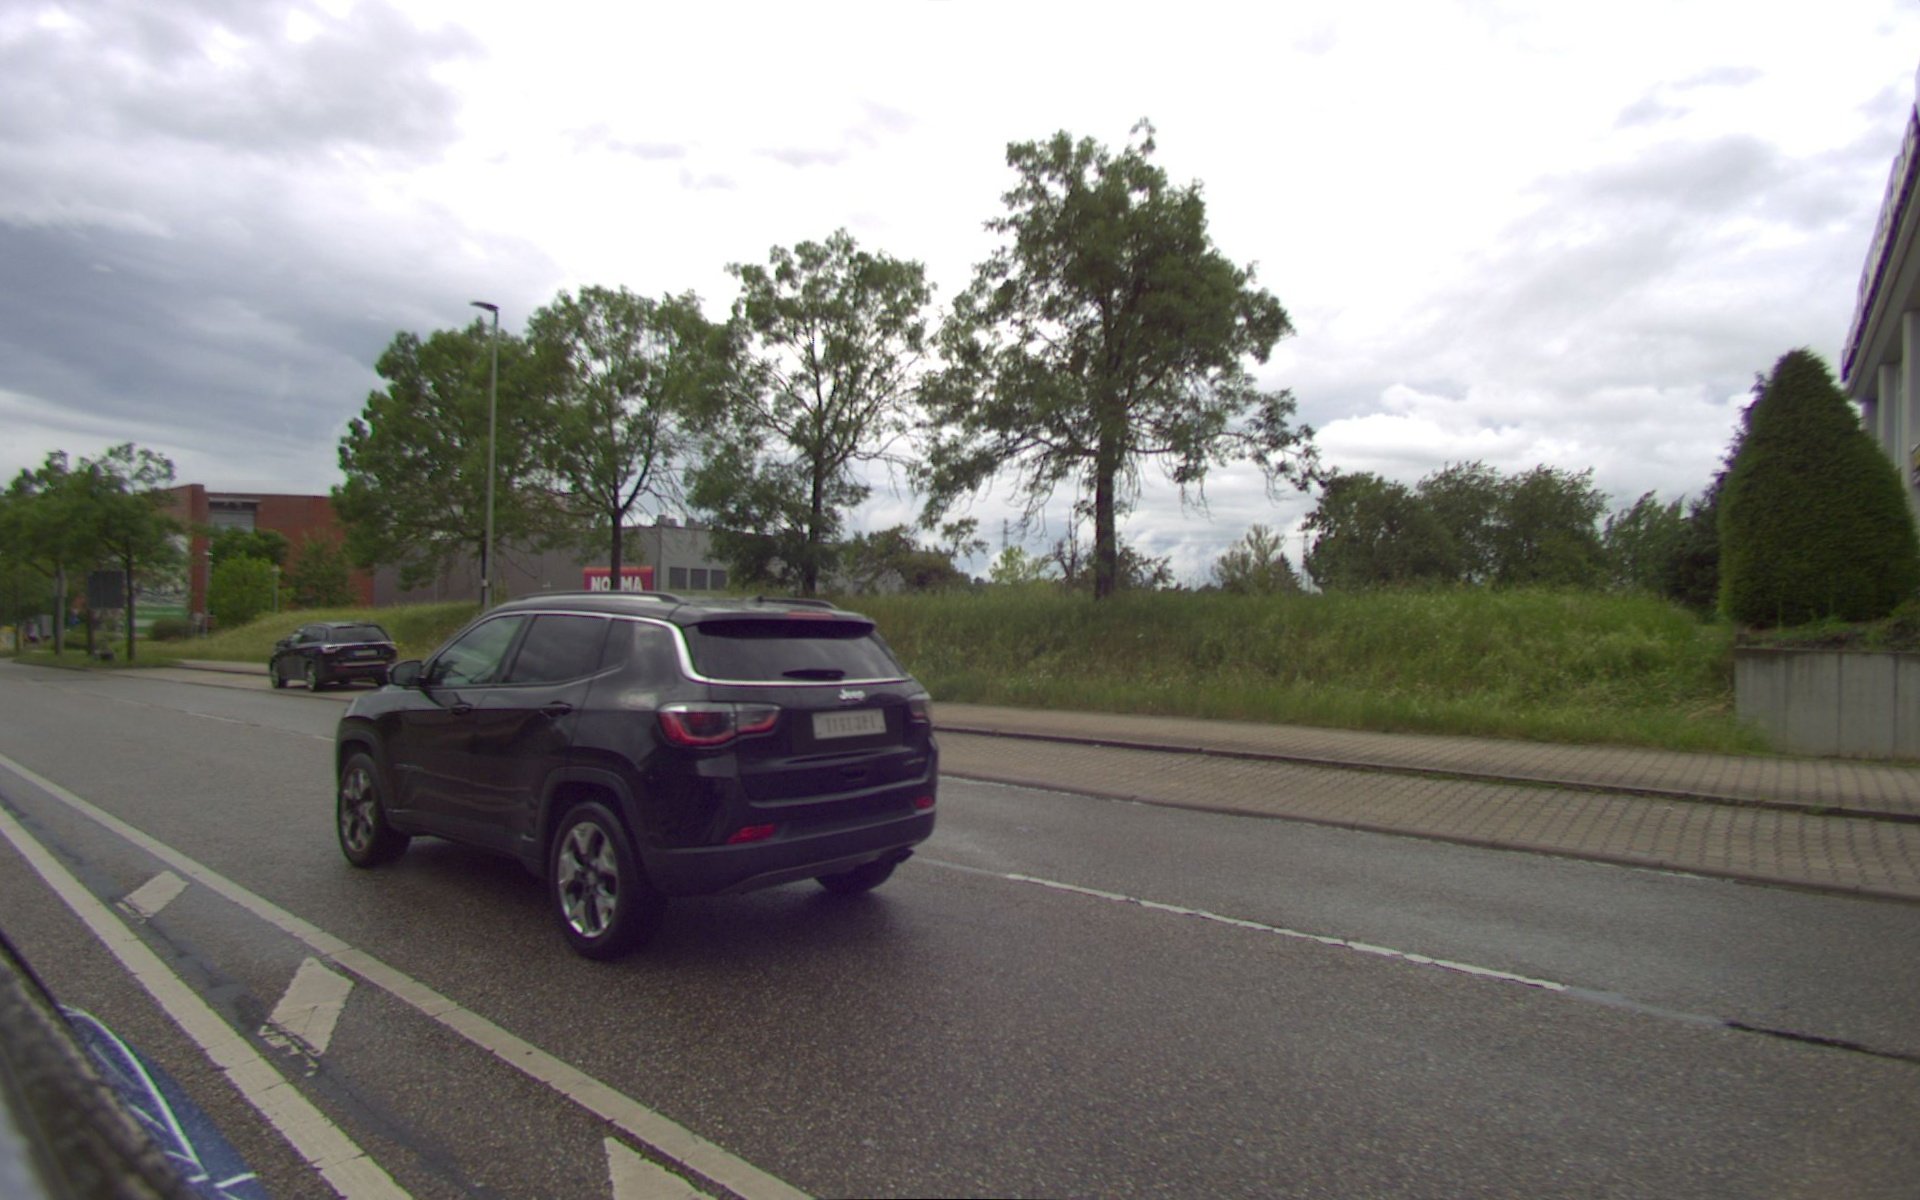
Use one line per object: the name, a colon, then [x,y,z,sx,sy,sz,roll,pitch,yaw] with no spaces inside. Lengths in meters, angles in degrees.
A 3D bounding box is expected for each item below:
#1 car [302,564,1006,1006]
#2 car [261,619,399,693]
car: [-1.940,0.745,5.715,4.194,1.596,1.777,-2,-3,40]
car: [-16.042,1.373,25.678,4.485,1.681,1.708,-2,-1,41]
